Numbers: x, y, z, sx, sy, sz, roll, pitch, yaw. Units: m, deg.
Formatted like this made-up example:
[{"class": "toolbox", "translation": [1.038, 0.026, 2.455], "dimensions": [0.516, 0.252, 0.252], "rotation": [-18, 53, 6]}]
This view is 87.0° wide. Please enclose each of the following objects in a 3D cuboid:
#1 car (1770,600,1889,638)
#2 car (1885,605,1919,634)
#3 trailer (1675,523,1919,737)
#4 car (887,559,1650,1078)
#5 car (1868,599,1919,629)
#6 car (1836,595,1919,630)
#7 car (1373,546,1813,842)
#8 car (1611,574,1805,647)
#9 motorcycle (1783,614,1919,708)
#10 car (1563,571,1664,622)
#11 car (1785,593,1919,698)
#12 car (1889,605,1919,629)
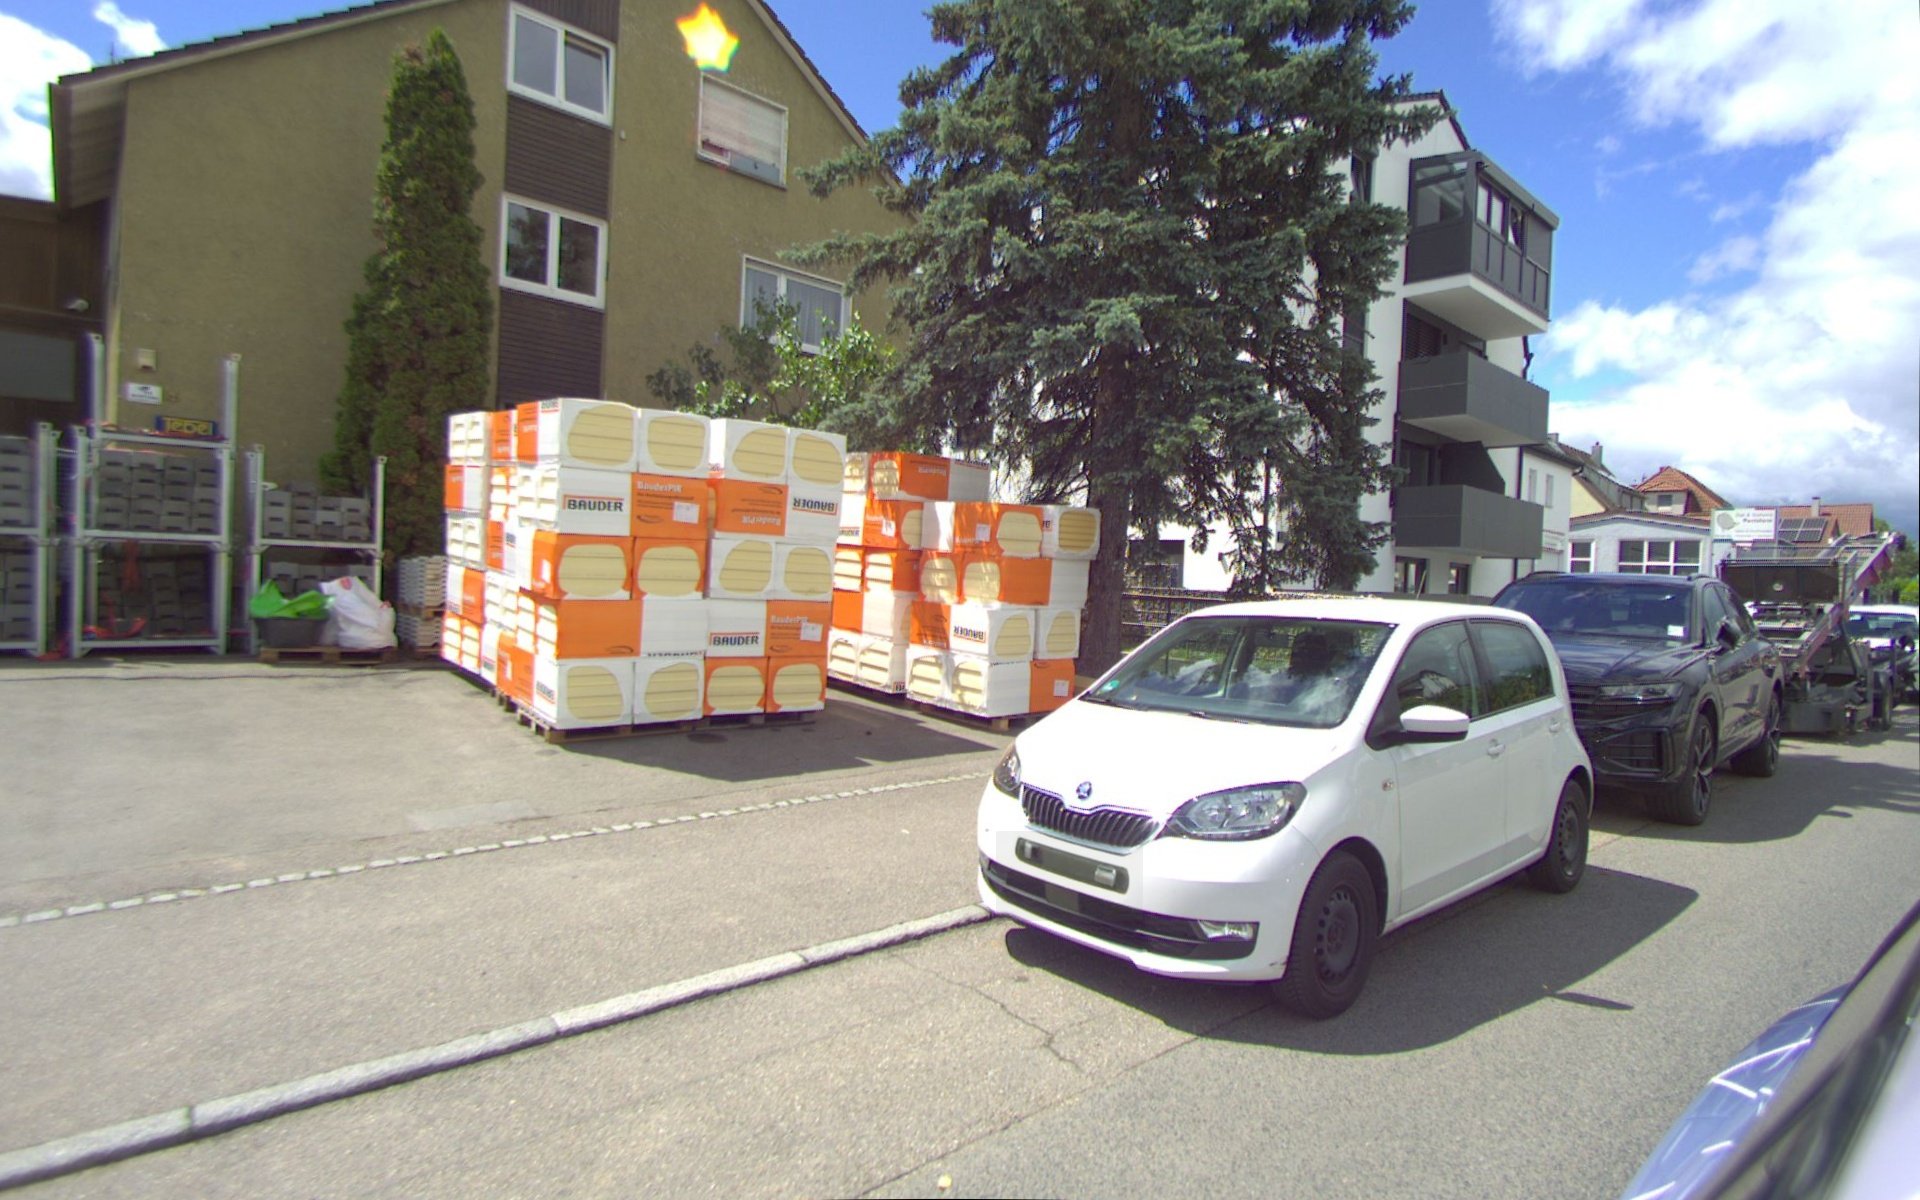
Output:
[{"class": "car", "translation": [39.228, 0.837, 45.721], "dimensions": [1.719, 1.629, 3.904], "rotation": [1, -1, -42]}, {"class": "car", "translation": [55.019, 1.165, 57.893], "dimensions": [1.942, 1.543, 2.892], "rotation": [1, 4, -44]}, {"class": "trailer", "translation": [10.326, 0.294, 12.284], "dimensions": [4.042, 2.171, 1.776], "rotation": [1, 1, -42]}, {"class": "car", "translation": [1.757, 0.650, 4.998], "dimensions": [3.930, 1.526, 1.776], "rotation": [1, 2, -42]}, {"class": "car", "translation": [57.688, 0.927, 60.842], "dimensions": [1.942, 1.543, 4.414], "rotation": [1, 4, -44]}, {"class": "car", "translation": [51.309, 0.713, 55.695], "dimensions": [1.942, 1.628, 4.414], "rotation": [1, 4, -44]}, {"class": "car", "translation": [5.365, 0.544, 8.269], "dimensions": [4.633, 1.748, 1.876], "rotation": [1, 2, -43]}, {"class": "car", "translation": [21.883, 0.252, 29.733], "dimensions": [1.834, 1.673, 4.203], "rotation": [1, 5, -41]}, {"class": "motorcycle", "translation": [12.971, 0.856, 14.370], "dimensions": [1.796, 1.225, 0.714], "rotation": [2, 1, 15]}, {"class": "car", "translation": [23.345, -0.113, 36.144], "dimensions": [3.593, 1.537, 1.639], "rotation": [3, 3, -34]}, {"class": "car", "translation": [15.107, 0.693, 16.522], "dimensions": [3.911, 1.449, 1.724], "rotation": [1, 3, -39]}, {"class": "car", "translation": [63.616, 1.247, 65.874], "dimensions": [1.942, 1.424, 4.414], "rotation": [1, 4, -44]}]
